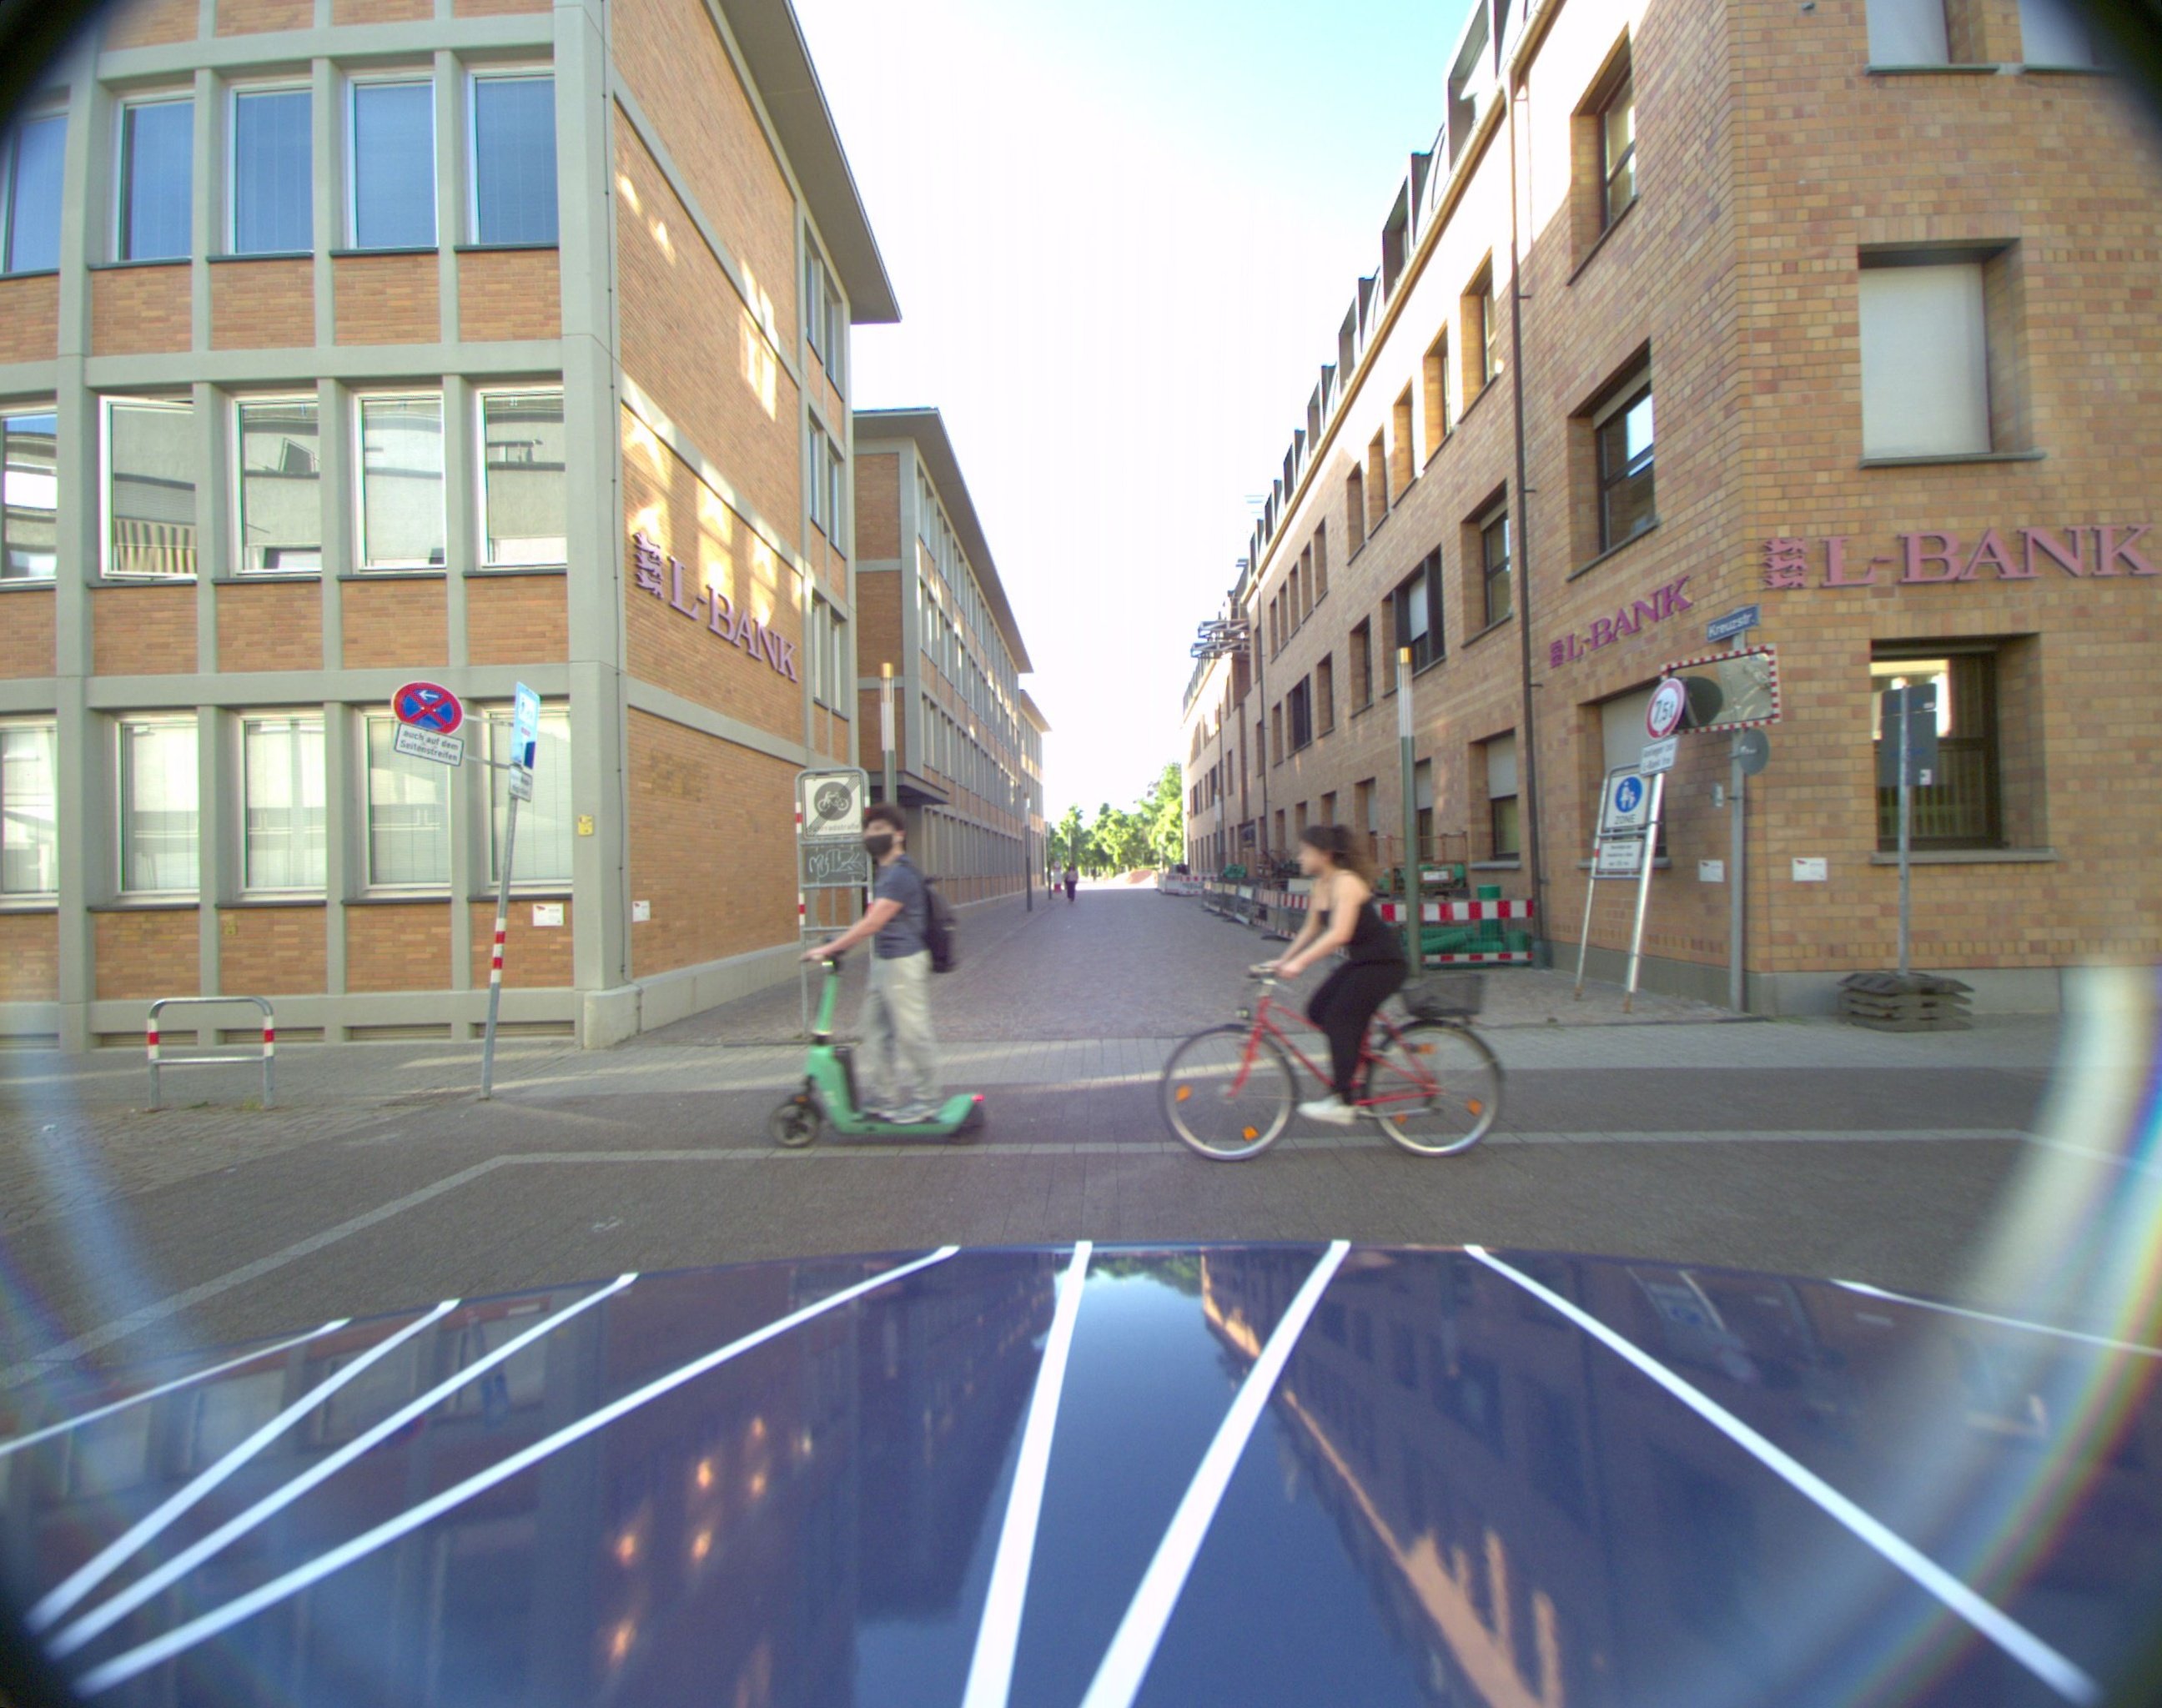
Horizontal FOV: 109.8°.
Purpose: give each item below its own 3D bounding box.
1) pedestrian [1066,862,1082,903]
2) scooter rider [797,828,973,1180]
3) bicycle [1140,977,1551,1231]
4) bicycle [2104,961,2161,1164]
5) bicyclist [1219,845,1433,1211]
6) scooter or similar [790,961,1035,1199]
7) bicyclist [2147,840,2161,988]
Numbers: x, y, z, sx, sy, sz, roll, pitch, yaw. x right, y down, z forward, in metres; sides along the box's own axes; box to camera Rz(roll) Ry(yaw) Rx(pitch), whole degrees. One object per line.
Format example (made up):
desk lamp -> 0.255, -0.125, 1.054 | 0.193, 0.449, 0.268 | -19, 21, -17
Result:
pedestrian -> -0.285, 1.243, 33.343 | 0.638, 1.774, 0.652 | -1, -3, 2
scooter rider -> -1.021, 0.739, 4.079 | 0.701, 1.716, 0.649 | 0, 0, 9
bicycle -> 1.227, 1.194, 3.780 | 1.799, 1.045, 0.591 | -2, -2, 1
bicycle -> 6.558, 1.069, 3.821 | 1.834, 1.044, 0.574 | -2, -4, 4
bicyclist -> 1.180, 0.812, 3.811 | 0.823, 1.656, 0.620 | -2, -3, 2
scooter or similar -> -0.924, 1.200, 4.194 | 1.277, 1.178, 0.337 | -1, -3, 10
bicyclist -> 6.522, 0.665, 3.859 | 1.108, 1.548, 0.650 | -2, -3, 3
